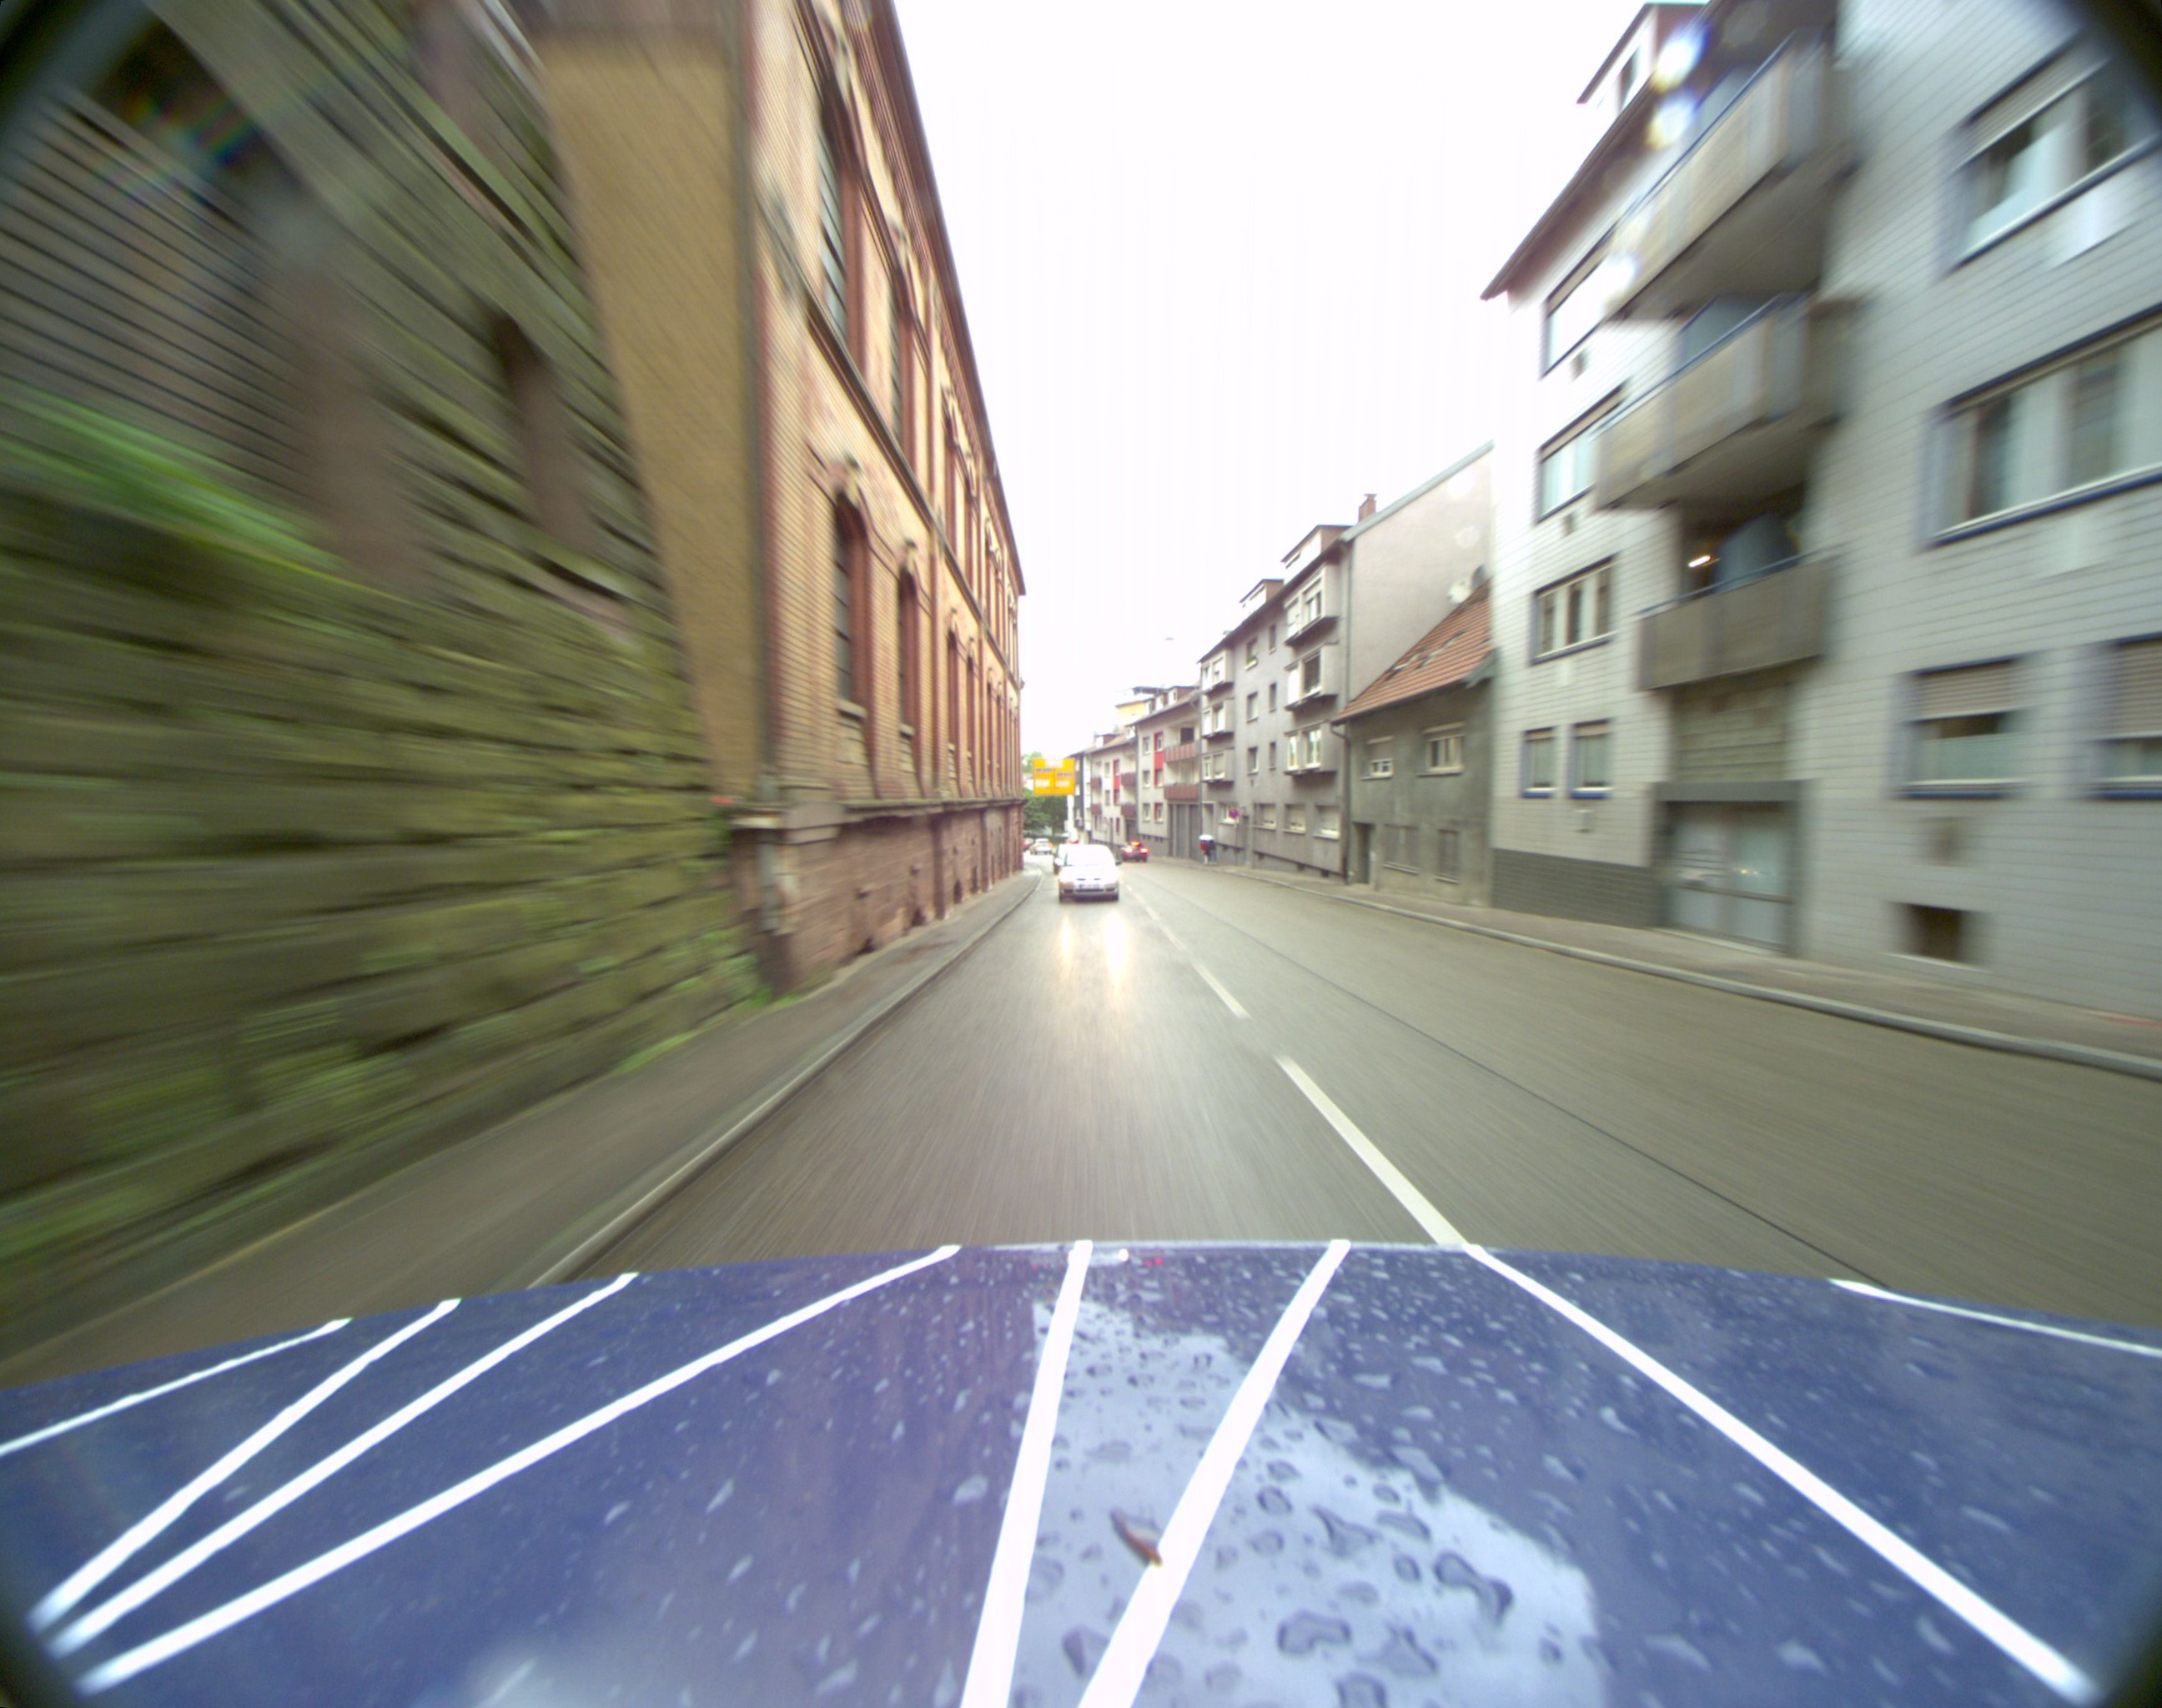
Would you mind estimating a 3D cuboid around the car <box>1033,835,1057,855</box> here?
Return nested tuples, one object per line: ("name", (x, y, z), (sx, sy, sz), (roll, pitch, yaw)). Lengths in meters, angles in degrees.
("car", (-3.740, -0.945, 78.870), (2.000, 2.002, 3.996), (-2, 1, -10))

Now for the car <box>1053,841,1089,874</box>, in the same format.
("car", (-0.525, 0.144, 38.663), (1.720, 1.527, 3.999), (-2, 1, -1))

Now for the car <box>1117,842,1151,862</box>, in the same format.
("car", (3.723, -0.170, 53.958), (1.714, 1.316, 3.368), (-2, 1, -8))

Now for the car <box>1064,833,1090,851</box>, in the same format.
("car", (-0.452, -1.170, 76.942), (1.835, 1.694, 4.072), (-2, 1, -10))

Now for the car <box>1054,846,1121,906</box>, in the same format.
("car", (0.179, 0.570, 22.301), (1.720, 1.527, 3.999), (-2, 1, 0))

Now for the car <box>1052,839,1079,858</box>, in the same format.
("car", (-1.364, -0.462, 64.572), (1.721, 1.527, 3.996), (-2, 1, -9))

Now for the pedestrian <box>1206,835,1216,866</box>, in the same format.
("pedestrian", (7.682, -0.208, 44.899), (0.381, 1.770, 0.499), (-2, 2, -9))

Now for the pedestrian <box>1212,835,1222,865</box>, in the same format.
("pedestrian", (8.051, -0.222, 44.950), (0.355, 1.770, 0.499), (-2, 2, -9))

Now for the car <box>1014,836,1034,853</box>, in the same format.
("car", (-7.186, -1.148, 95.120), (2.000, 2.002, 3.996), (-2, 1, -10))

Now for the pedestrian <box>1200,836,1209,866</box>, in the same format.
("pedestrian", (7.286, -0.192, 44.840), (0.387, 1.770, 0.499), (-2, 2, -9))
